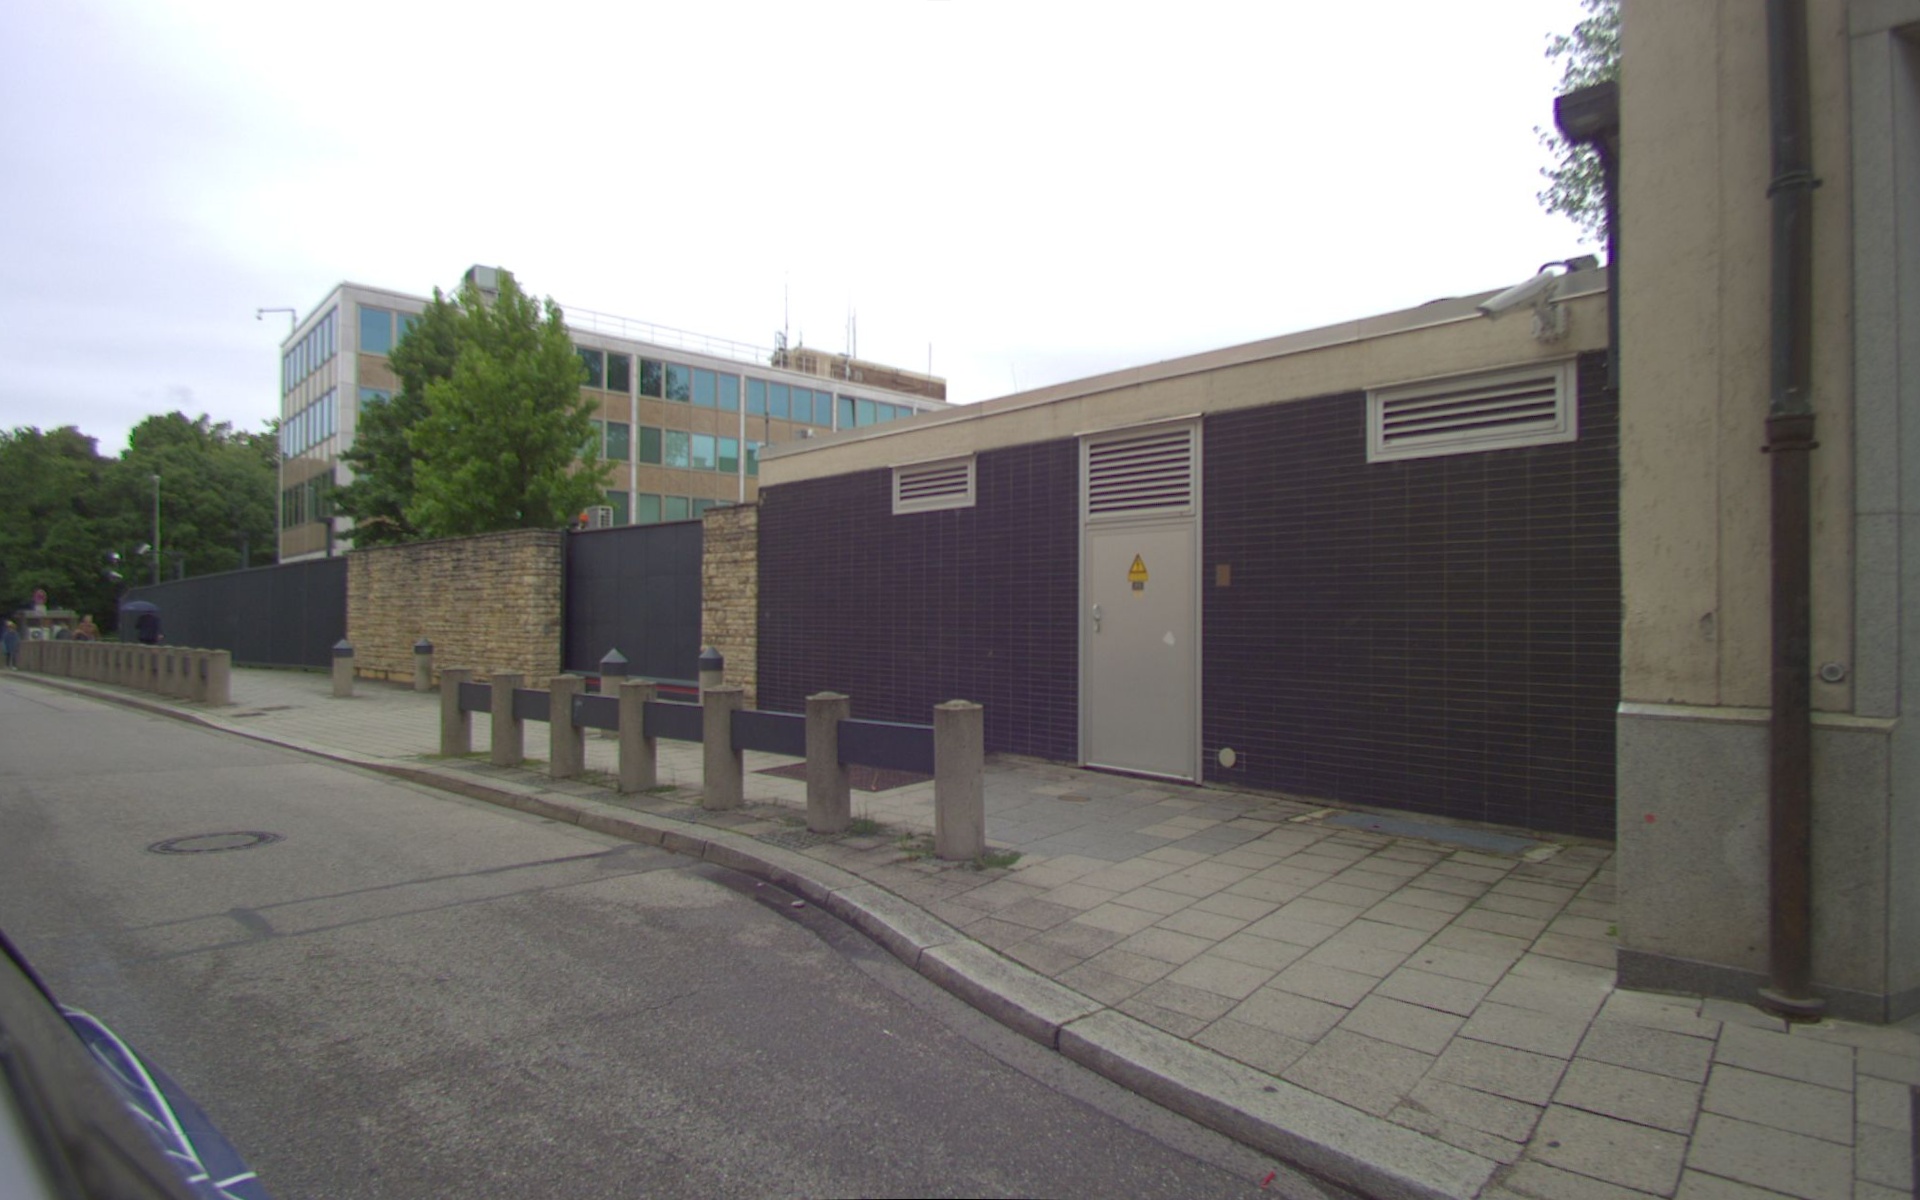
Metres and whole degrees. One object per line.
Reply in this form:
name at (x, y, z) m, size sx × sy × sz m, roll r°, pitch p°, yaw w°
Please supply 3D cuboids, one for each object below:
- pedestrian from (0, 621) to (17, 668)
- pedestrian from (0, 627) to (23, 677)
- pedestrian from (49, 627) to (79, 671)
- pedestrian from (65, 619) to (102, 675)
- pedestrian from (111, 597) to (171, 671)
pedestrian at (-36.760, 1.716, 38.934) m, size 0.766 × 1.782 × 0.617 m, roll -2°, pitch -3°, yaw 40°
pedestrian at (-29.393, 1.602, 31.193) m, size 1.078 × 1.478 × 0.631 m, roll -2°, pitch -1°, yaw 42°
pedestrian at (-32.460, 1.761, 36.680) m, size 0.768 × 1.551 × 0.934 m, roll -1°, pitch -1°, yaw -41°
pedestrian at (-28.033, 1.482, 32.361) m, size 0.814 × 1.736 × 0.906 m, roll -1°, pitch -1°, yaw -44°
pedestrian at (-24.222, 0.999, 29.932) m, size 1.116 × 2.120 × 1.209 m, roll -3°, pitch -3°, yaw 43°
